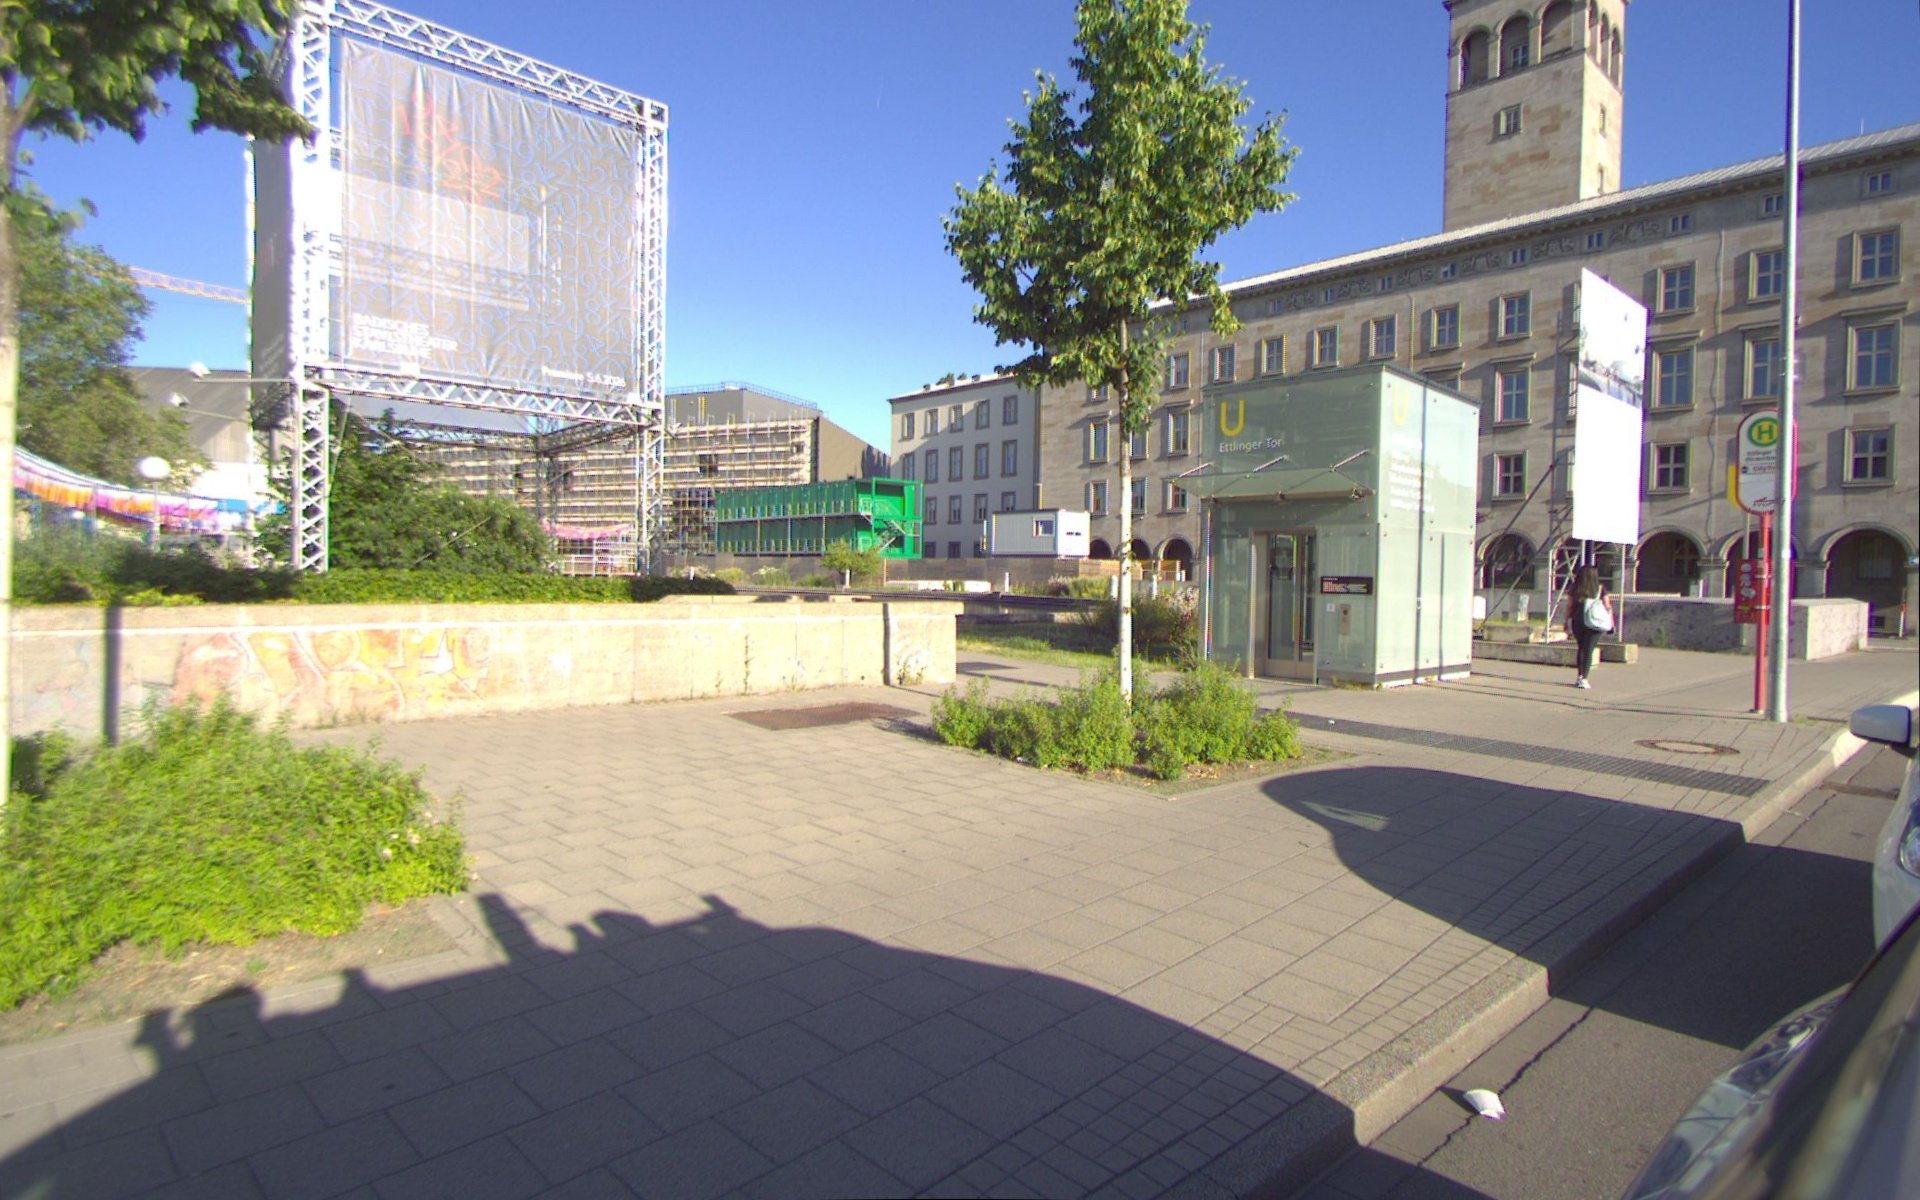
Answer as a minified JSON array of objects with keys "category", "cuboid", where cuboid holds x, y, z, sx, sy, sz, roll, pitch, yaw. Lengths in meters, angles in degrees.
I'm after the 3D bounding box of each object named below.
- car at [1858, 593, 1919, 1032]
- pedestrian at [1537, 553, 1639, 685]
[{"category":"car","cuboid":[5.117,0.711,4.074,3.819,1.467,1.678,0,0,-39]},{"category":"pedestrian","cuboid":[9.066,0.241,14.612,1.053,1.809,0.941,0,1,-41]}]
